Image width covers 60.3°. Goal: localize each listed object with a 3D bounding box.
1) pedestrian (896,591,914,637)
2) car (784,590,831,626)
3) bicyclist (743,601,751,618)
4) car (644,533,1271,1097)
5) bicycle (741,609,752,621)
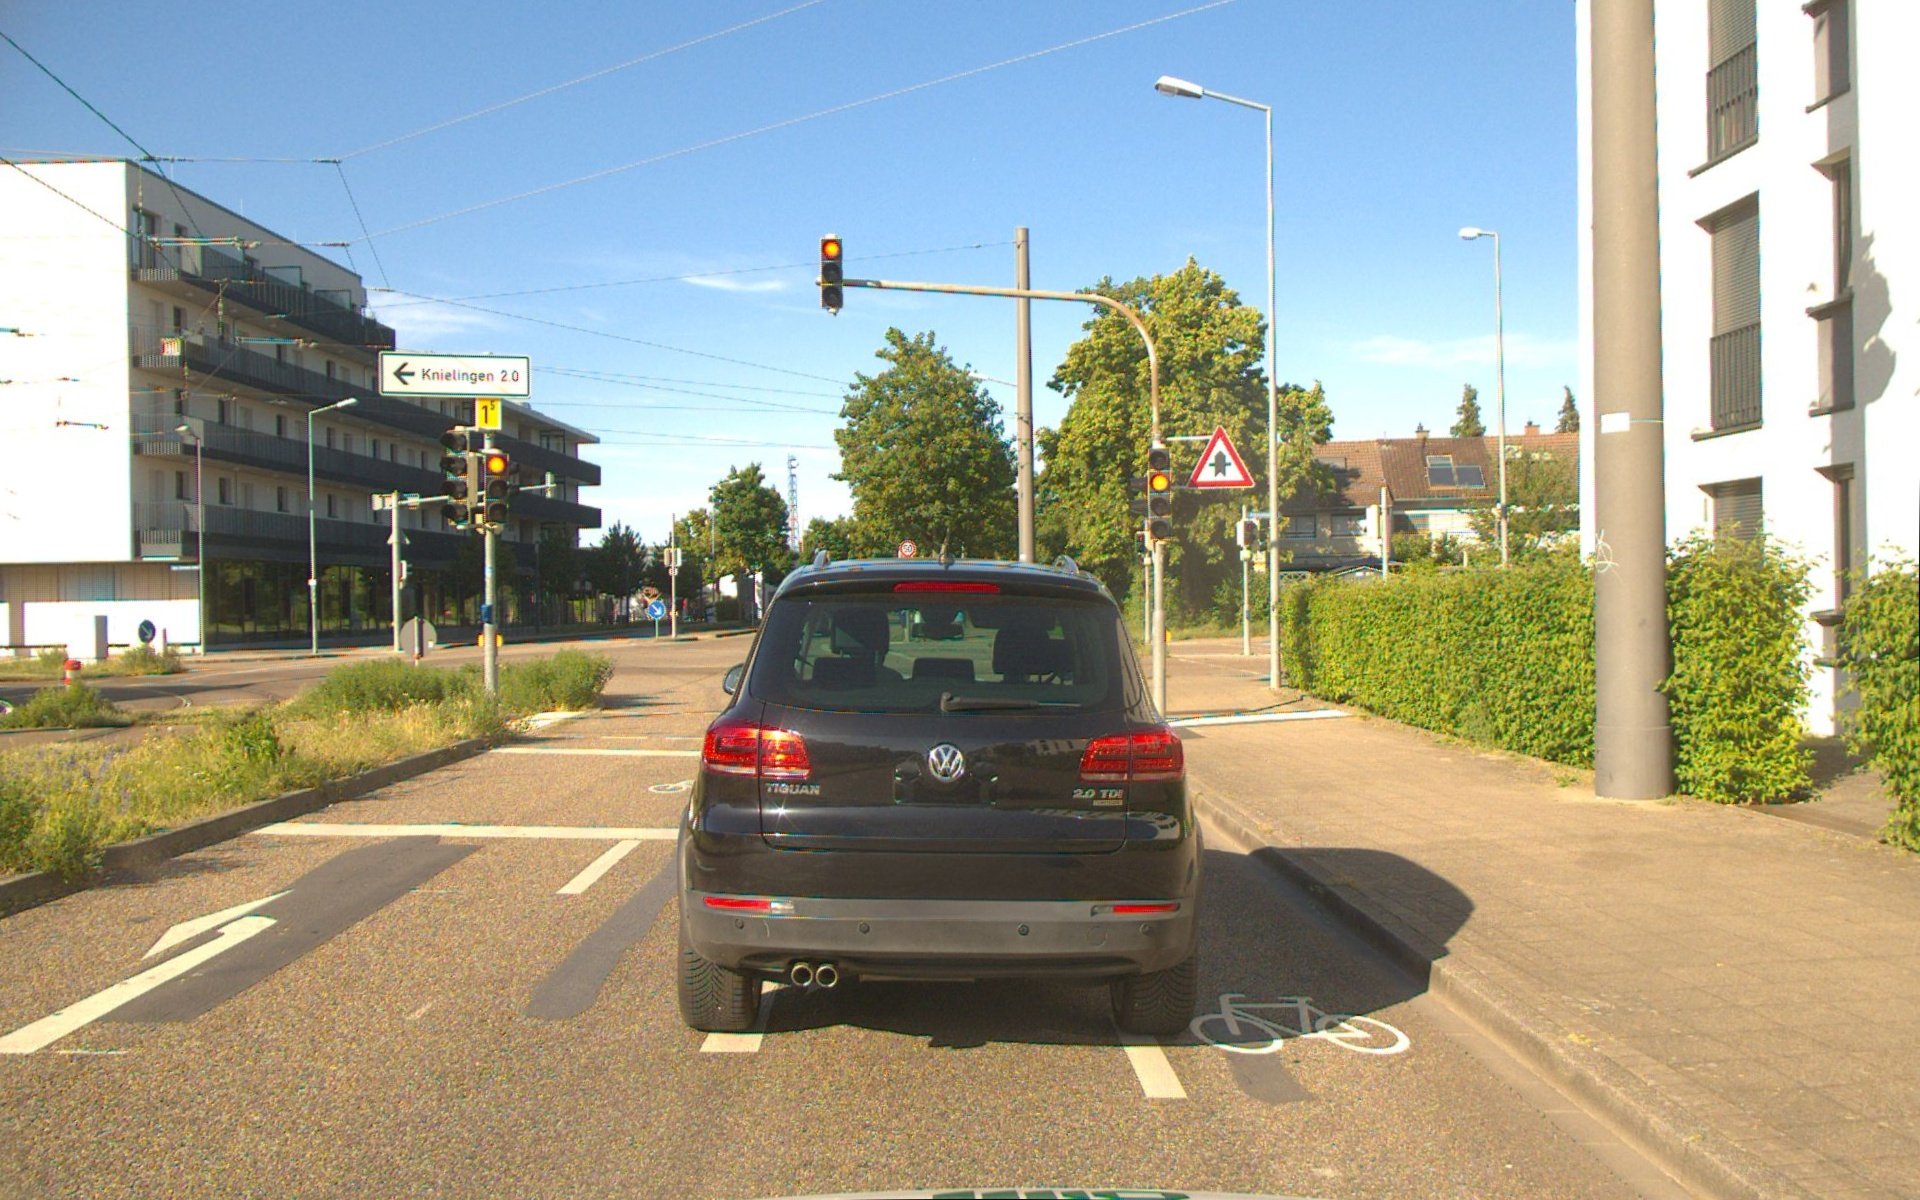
[{"bbox_3d":[-2.011,0.511,60.129,0.590,1.668,0.529,0,0,4],"label":"pedestrian"},{"bbox_3d":[-6.261,0.308,68.218,1.716,1.411,3.998,0,0,-2],"label":"car"},{"bbox_3d":[-15.780,0.678,122.297,0.464,1.245,0.713,0,0,3],"label":"bicyclist"},{"bbox_3d":[-0.070,0.635,6.951,1.867,1.671,3.998,0,0,-2],"label":"car"},{"bbox_3d":[-15.790,1.102,122.369,0.485,0.863,2.079,0,0,3],"label":"bicycle"}]
